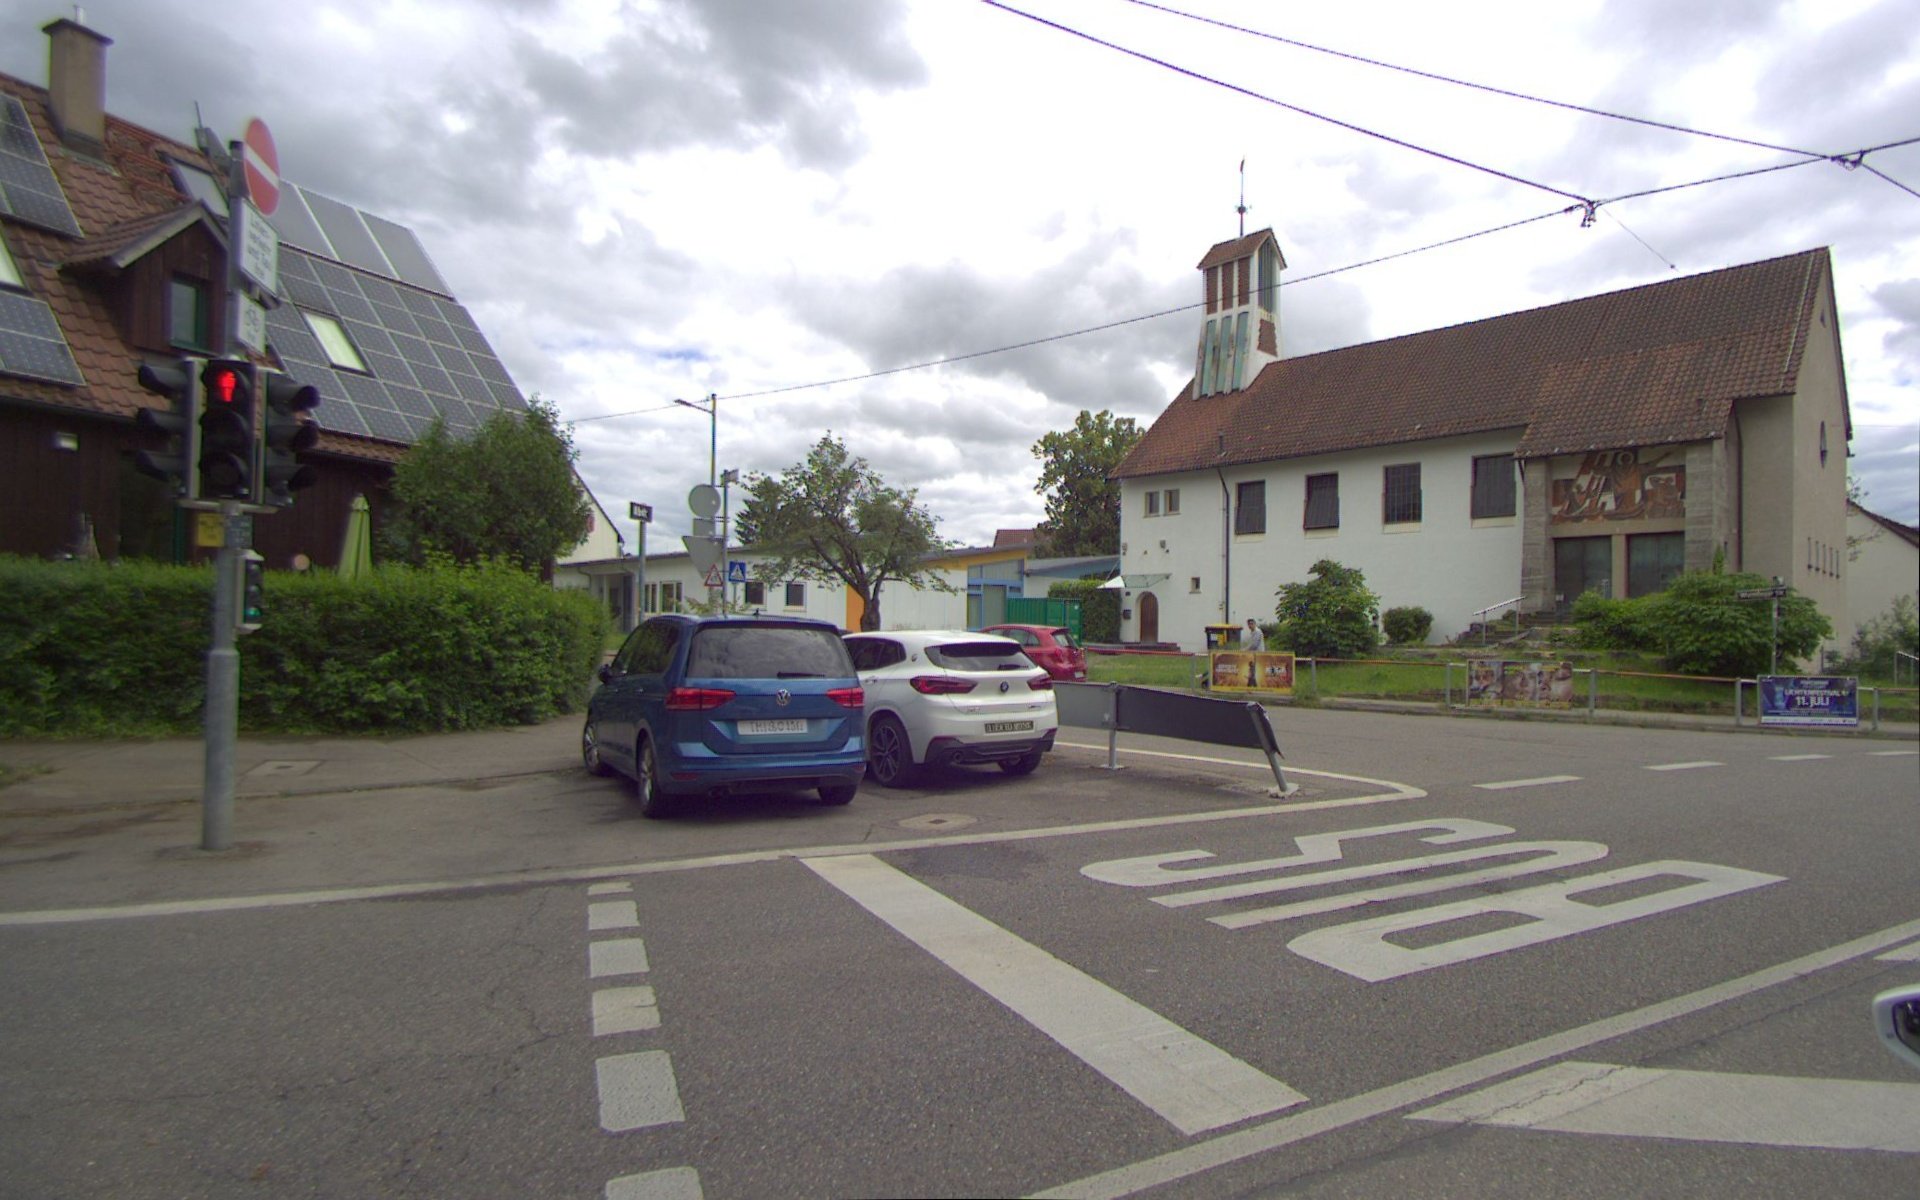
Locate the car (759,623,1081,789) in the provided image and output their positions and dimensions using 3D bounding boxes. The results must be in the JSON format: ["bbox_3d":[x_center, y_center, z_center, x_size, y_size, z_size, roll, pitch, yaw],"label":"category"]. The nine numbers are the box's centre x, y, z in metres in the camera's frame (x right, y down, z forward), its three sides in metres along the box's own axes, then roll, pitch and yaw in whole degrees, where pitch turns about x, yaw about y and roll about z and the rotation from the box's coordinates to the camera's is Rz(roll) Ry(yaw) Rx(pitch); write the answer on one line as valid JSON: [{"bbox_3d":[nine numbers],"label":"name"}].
[{"bbox_3d":[-0.614,1.021,11.184,1.827,1.491,3.868,2,-2,-34],"label":"car"}]

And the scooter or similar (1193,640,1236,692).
[{"bbox_3d":[5.857,1.509,23.114,0.872,1.109,0.612,3,-1,17],"label":"scooter or similar"}]

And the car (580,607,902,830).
[{"bbox_3d":[-2.255,0.905,9.352,1.823,1.567,4.147,2,-2,-29],"label":"car"}]

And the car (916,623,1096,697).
[{"bbox_3d":[1.028,1.289,22.483,3.616,1.509,1.773,0,-2,27],"label":"car"}]

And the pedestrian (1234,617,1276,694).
[{"bbox_3d":[6.703,1.258,22.831,0.814,1.674,0.689,3,-1,18],"label":"pedestrian"}]
